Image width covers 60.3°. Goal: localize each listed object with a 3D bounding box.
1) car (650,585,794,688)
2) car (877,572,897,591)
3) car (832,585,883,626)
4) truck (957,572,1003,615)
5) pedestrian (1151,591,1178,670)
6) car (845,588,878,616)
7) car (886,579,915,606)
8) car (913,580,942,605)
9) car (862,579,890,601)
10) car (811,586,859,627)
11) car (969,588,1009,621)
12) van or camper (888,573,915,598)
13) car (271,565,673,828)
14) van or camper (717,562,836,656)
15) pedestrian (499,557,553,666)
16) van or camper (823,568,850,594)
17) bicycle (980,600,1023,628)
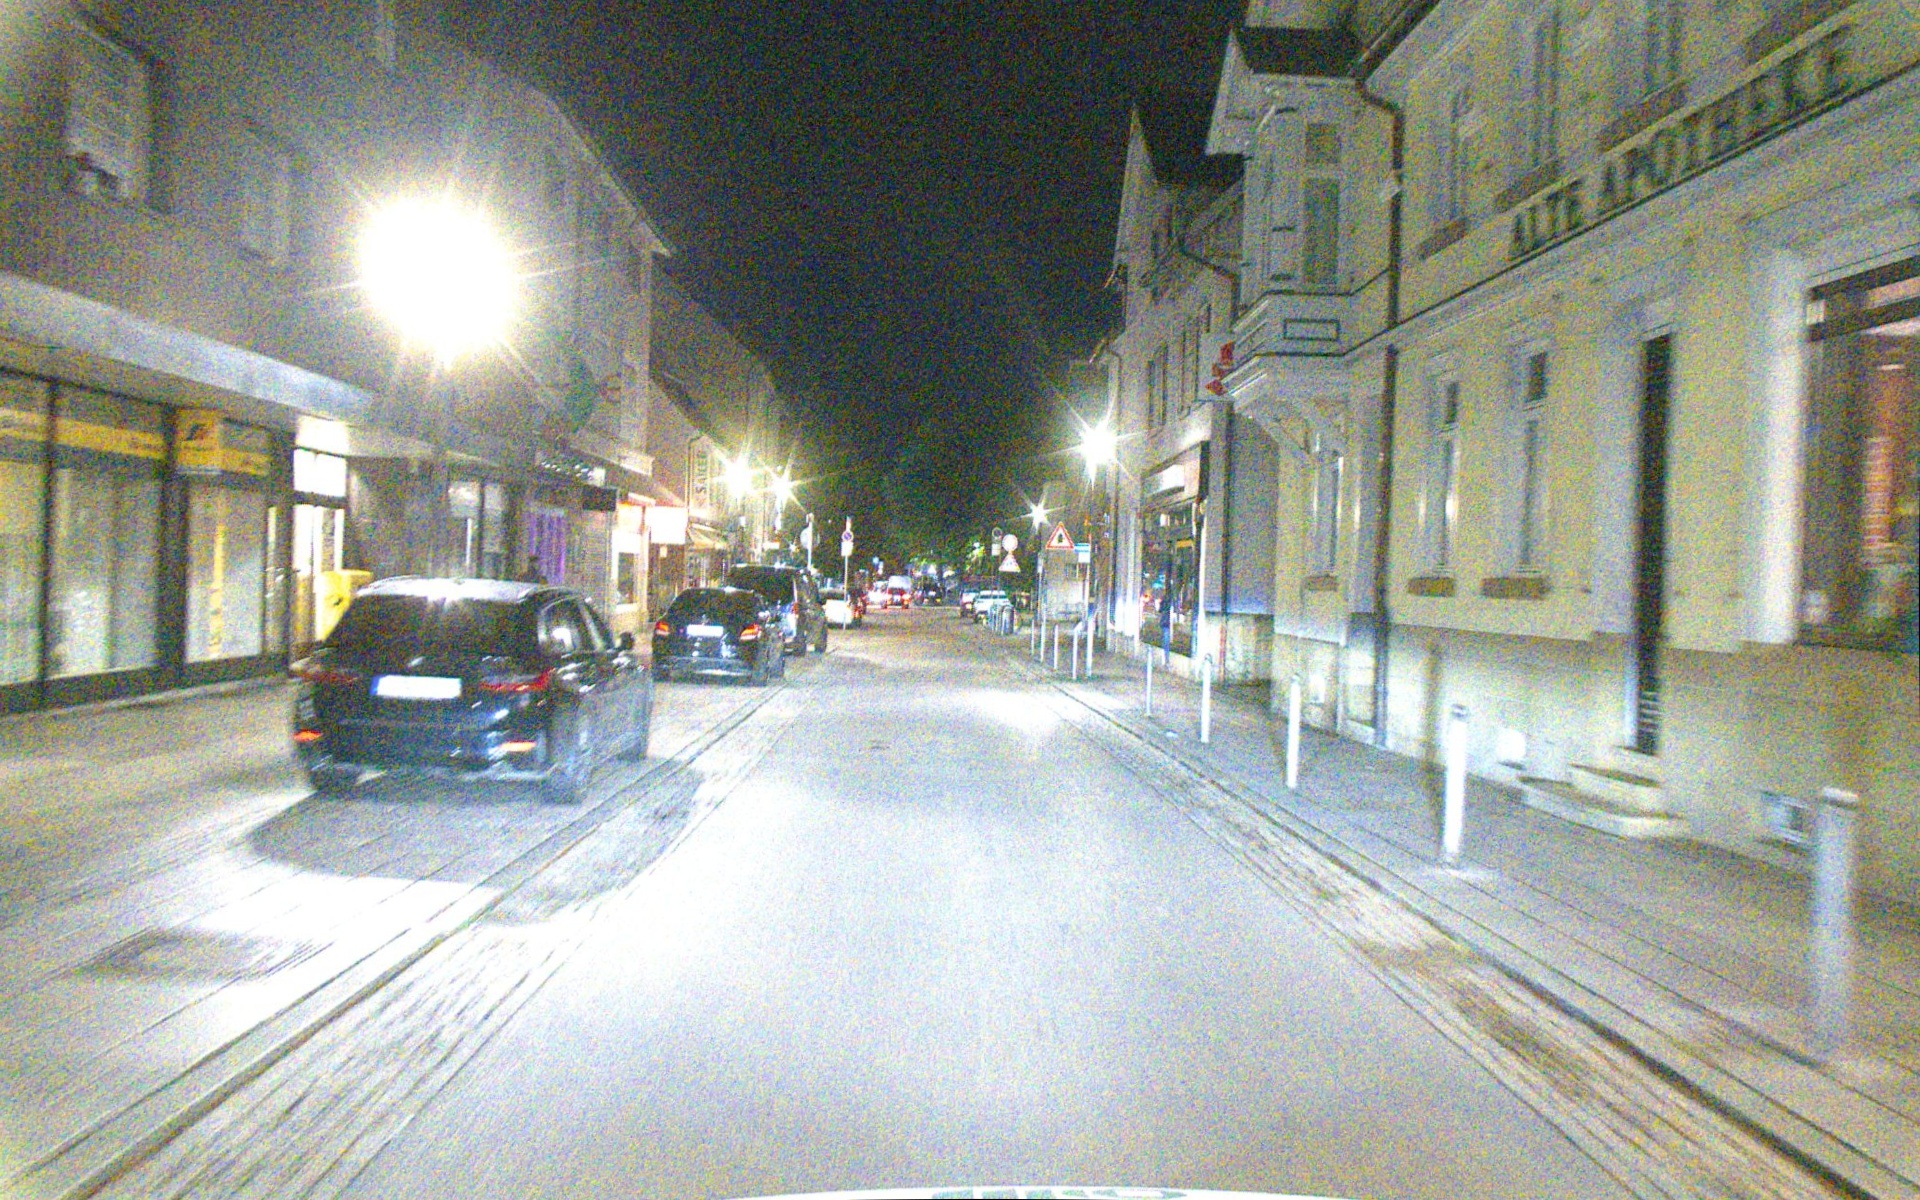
[{"bbox_3d":[-3.718,0.521,26.496,1.682,1.437,4.384,3,0,-1],"label":"car"},{"bbox_3d":[-7.704,-1.970,174.349,1.804,1.934,3.840,1,1,-7],"label":"car"},{"bbox_3d":[-4.309,0.189,70.117,1.979,1.513,5.005,4,0,-2],"label":"car"},{"bbox_3d":[1.095,-0.381,94.147,2.289,2.352,5.778,0,1,-2],"label":"truck"},{"bbox_3d":[4.150,0.615,33.574,0.490,1.574,0.480,2,0,4],"label":"pedestrian"},{"bbox_3d":[-5.875,0.119,98.502,1.642,1.570,4.224,2,1,-7],"label":"car"},{"bbox_3d":[-4.296,-0.570,119.065,1.954,1.855,3.998,1,0,-3],"label":"car"},{"bbox_3d":[-2.593,-0.592,129.422,1.781,1.860,4.340,1,1,-8],"label":"car"},{"bbox_3d":[-6.803,-0.803,133.915,1.955,1.732,3.995,1,1,-7],"label":"car"},{"bbox_3d":[-4.867,0.234,64.778,1.694,1.502,3.845,2,1,-3],"label":"car"},{"bbox_3d":[1.366,0.204,78.585,1.753,1.517,4.058,0,1,-1],"label":"car"},{"bbox_3d":[-5.528,-1.374,155.362,2.069,2.357,4.254,0,1,-8],"label":"van or camper"},{"bbox_3d":[-3.343,0.585,12.228,1.761,1.503,4.319,3,0,-2],"label":"car"},{"bbox_3d":[-4.181,0.176,38.536,1.807,1.975,5.156,2,0,4],"label":"van or camper"},{"bbox_3d":[-7.283,0.189,27.800,0.608,1.776,1.022,2,0,-1],"label":"pedestrian"},{"bbox_3d":[-10.175,-1.546,135.924,1.832,2.046,4.254,3,0,-8],"label":"van or camper"},{"bbox_3d":[1.681,0.564,66.985,1.720,1.080,0.346,1,0,-5],"label":"bicycle"}]
